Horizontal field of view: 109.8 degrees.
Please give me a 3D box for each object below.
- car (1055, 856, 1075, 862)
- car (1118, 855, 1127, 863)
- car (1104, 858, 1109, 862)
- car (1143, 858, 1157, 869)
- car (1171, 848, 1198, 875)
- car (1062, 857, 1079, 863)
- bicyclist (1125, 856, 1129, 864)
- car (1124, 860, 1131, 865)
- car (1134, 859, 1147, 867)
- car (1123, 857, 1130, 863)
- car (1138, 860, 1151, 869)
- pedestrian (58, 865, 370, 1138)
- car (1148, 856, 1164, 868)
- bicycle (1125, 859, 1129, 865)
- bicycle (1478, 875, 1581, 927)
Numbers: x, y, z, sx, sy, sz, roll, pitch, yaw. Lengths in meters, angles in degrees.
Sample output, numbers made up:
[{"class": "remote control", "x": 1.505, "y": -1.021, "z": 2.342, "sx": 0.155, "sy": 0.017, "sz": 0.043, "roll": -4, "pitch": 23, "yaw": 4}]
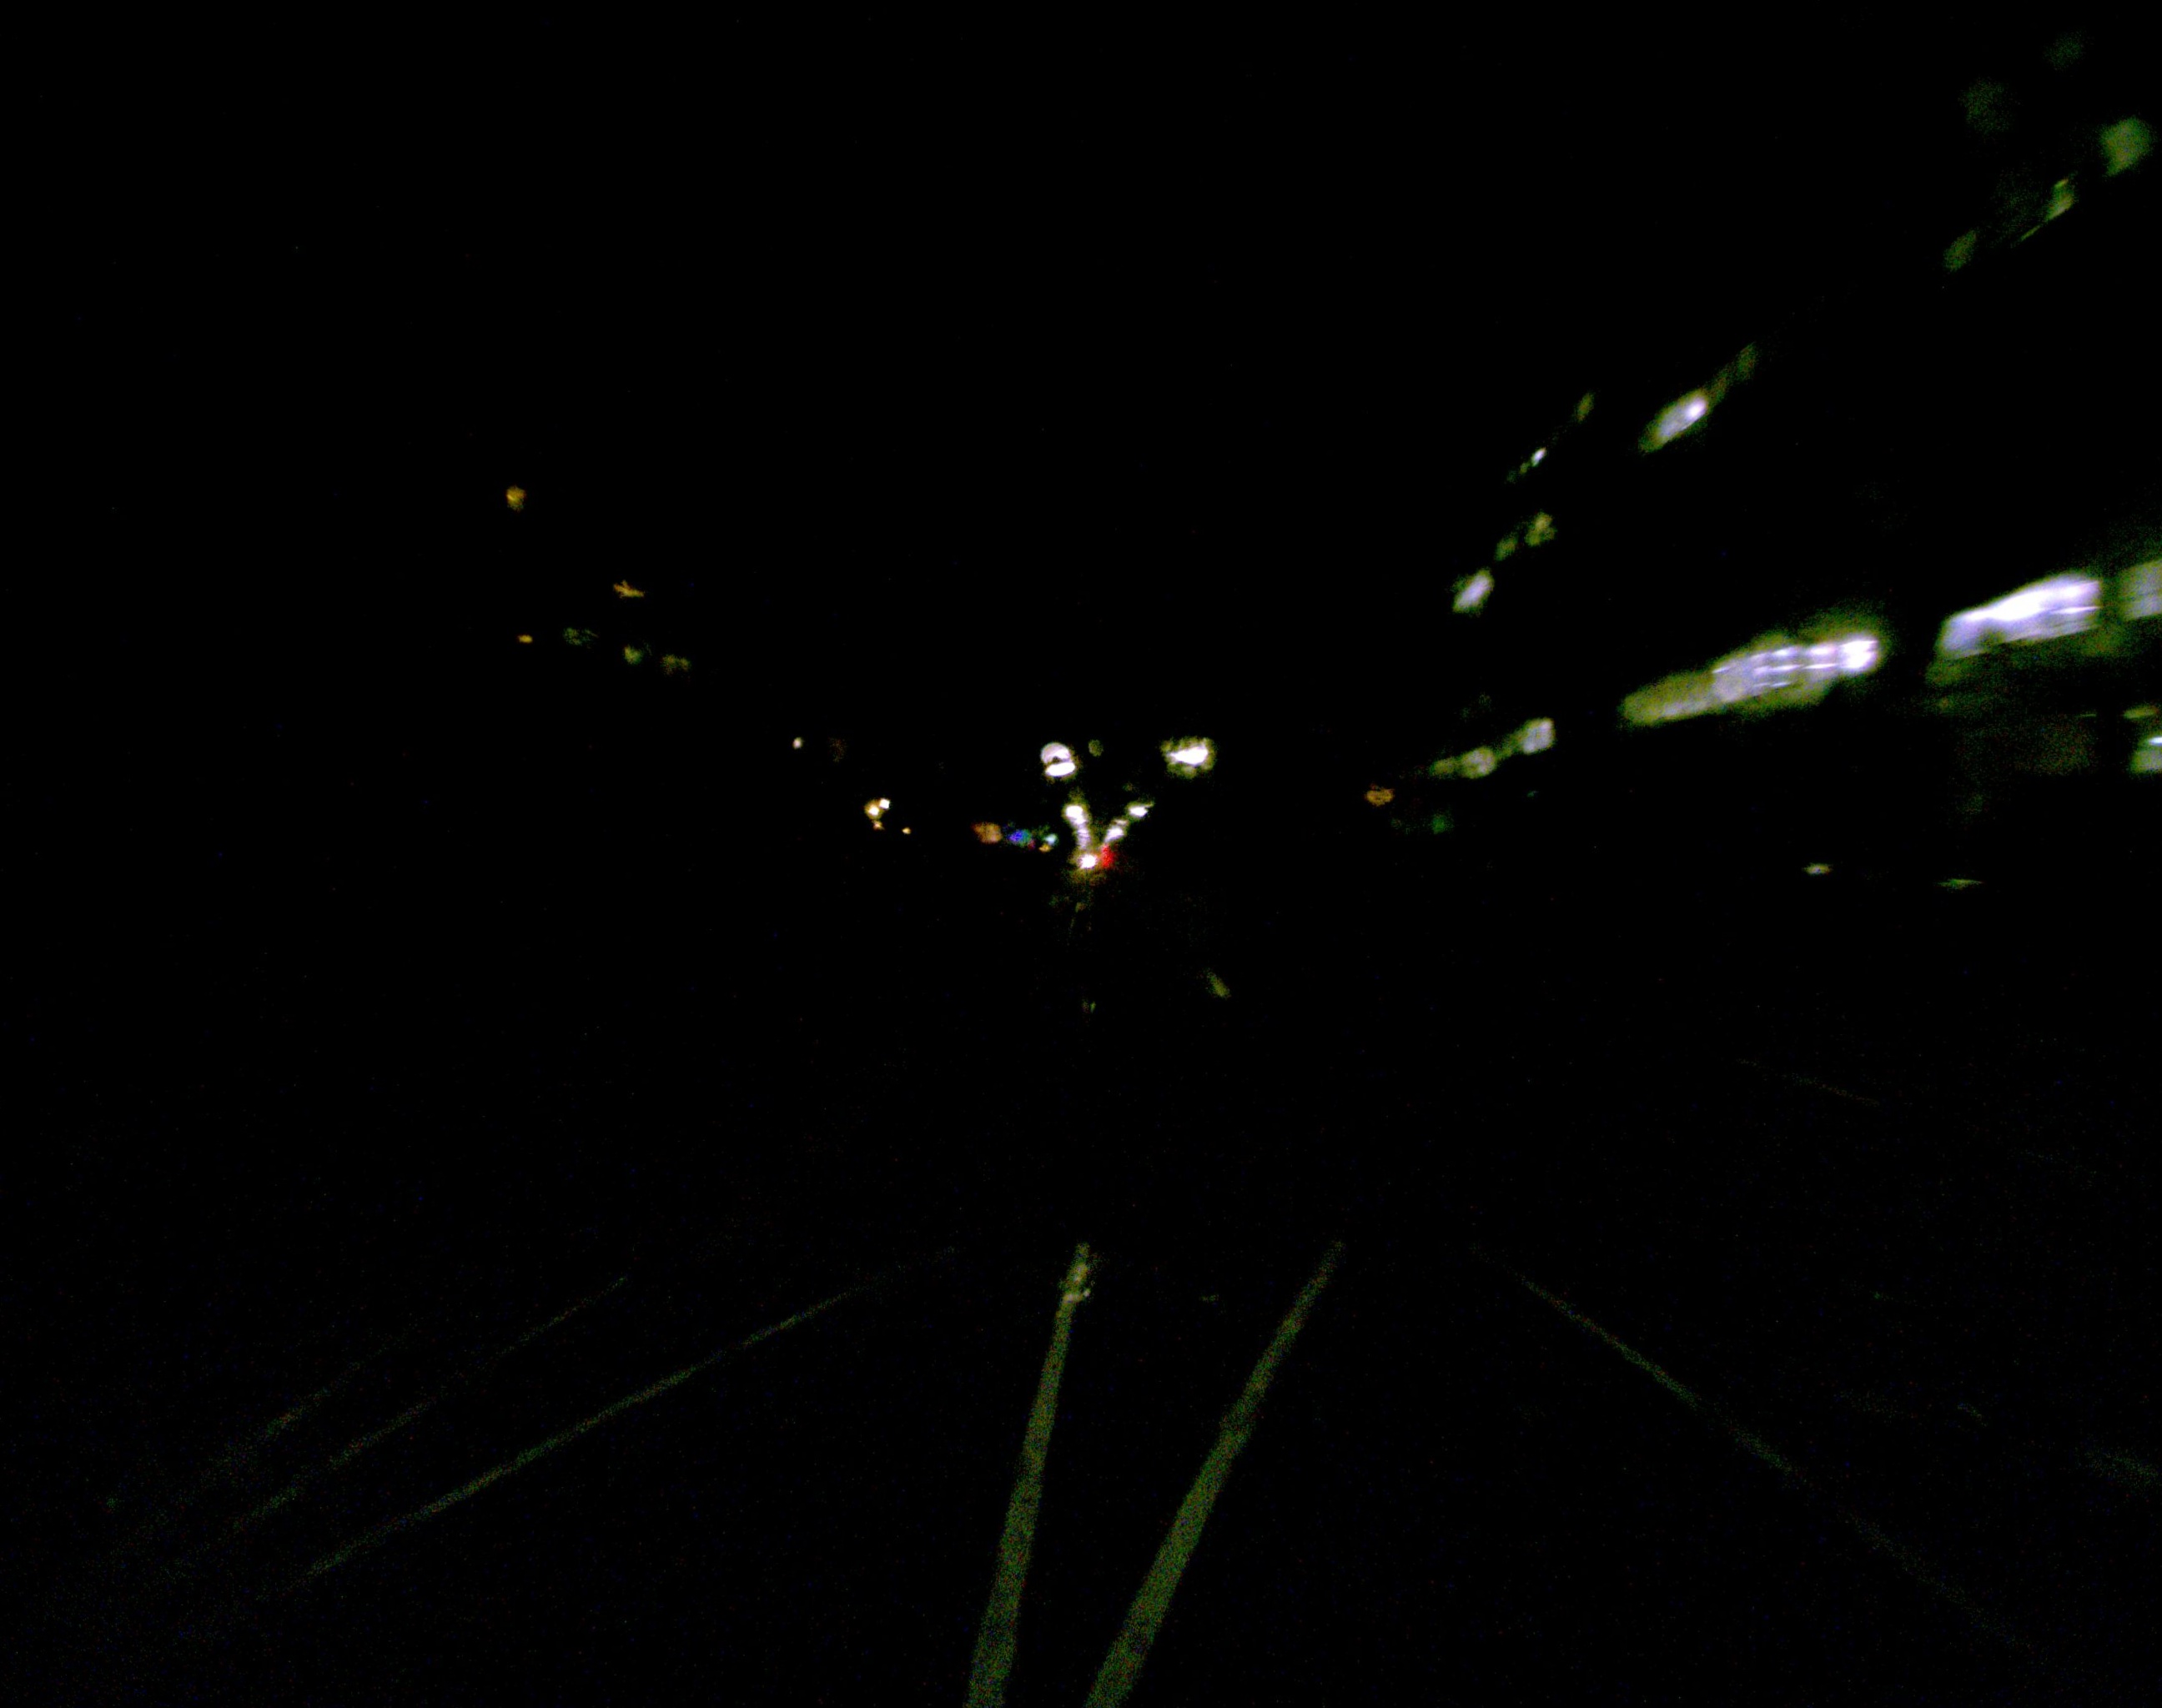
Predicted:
[{"class": "car", "x": -3.818, "y": 1.228, "z": 184.365, "sx": 4.604, "sy": 1.466, "sz": 1.837, "roll": 0, "pitch": 0, "yaw": -18}, {"class": "car", "x": 13.415, "y": 1.597, "z": 246.880, "sx": 2.248, "sy": 2.494, "sz": 5.259, "roll": -3, "pitch": 0, "yaw": -2}, {"class": "car", "x": 8.405, "y": 1.985, "z": 249.707, "sx": 1.780, "sy": 1.508, "sz": 4.051, "roll": -1, "pitch": -1, "yaw": 1}, {"class": "car", "x": 11.503, "y": 1.591, "z": 127.598, "sx": 1.988, "sy": 1.621, "sz": 4.517, "roll": -1, "pitch": 0, "yaw": 1}, {"class": "car", "x": 10.624, "y": 0.811, "z": 78.111, "sx": 2.190, "sy": 2.576, "sz": 6.394, "roll": -1, "pitch": -1, "yaw": 3}, {"class": "car", "x": -2.895, "y": 1.610, "z": 211.083, "sx": 4.350, "sy": 1.459, "sz": 1.677, "roll": -1, "pitch": 0, "yaw": -37}, {"class": "bicyclist", "x": 9.905, "y": 1.229, "z": 163.654, "sx": 0.784, "sy": 1.646, "sz": 1.206, "roll": 1, "pitch": 0, "yaw": 1}, {"class": "car", "x": 12.961, "y": 2.321, "z": 213.902, "sx": 1.723, "sy": 1.447, "sz": 3.950, "roll": -1, "pitch": 0, "yaw": 0}, {"class": "car", "x": 11.984, "y": 1.787, "z": 153.519, "sx": 1.893, "sy": 1.454, "sz": 4.958, "roll": 0, "pitch": 0, "yaw": -3}, {"class": "car", "x": 11.563, "y": 1.586, "z": 194.031, "sx": 1.735, "sy": 1.430, "sz": 4.626, "roll": -1, "pitch": 0, "yaw": 1}, {"class": "car", "x": 11.787, "y": 1.879, "z": 141.301, "sx": 1.885, "sy": 1.536, "sz": 4.398, "roll": -4, "pitch": 0, "yaw": -2}, {"class": "pedestrian", "x": -5.765, "y": 0.913, "z": 5.147, "sx": 0.942, "sy": 1.654, "sz": 0.994, "roll": 1, "pitch": 0, "yaw": -3}, {"class": "car", "x": 10.714, "y": 1.148, "z": 109.242, "sx": 1.974, "sy": 1.646, "sz": 4.601, "roll": -3, "pitch": 0, "yaw": 2}, {"class": "bicycle", "x": 9.895, "y": 1.720, "z": 163.665, "sx": 0.784, "sy": 1.076, "sz": 1.918, "roll": 1, "pitch": 0, "yaw": 1}, {"class": "bicycle", "x": 9.824, "y": 1.020, "z": 16.676, "sx": 1.858, "sy": 1.071, "sz": 0.627, "roll": -1, "pitch": 0, "yaw": 1}]
